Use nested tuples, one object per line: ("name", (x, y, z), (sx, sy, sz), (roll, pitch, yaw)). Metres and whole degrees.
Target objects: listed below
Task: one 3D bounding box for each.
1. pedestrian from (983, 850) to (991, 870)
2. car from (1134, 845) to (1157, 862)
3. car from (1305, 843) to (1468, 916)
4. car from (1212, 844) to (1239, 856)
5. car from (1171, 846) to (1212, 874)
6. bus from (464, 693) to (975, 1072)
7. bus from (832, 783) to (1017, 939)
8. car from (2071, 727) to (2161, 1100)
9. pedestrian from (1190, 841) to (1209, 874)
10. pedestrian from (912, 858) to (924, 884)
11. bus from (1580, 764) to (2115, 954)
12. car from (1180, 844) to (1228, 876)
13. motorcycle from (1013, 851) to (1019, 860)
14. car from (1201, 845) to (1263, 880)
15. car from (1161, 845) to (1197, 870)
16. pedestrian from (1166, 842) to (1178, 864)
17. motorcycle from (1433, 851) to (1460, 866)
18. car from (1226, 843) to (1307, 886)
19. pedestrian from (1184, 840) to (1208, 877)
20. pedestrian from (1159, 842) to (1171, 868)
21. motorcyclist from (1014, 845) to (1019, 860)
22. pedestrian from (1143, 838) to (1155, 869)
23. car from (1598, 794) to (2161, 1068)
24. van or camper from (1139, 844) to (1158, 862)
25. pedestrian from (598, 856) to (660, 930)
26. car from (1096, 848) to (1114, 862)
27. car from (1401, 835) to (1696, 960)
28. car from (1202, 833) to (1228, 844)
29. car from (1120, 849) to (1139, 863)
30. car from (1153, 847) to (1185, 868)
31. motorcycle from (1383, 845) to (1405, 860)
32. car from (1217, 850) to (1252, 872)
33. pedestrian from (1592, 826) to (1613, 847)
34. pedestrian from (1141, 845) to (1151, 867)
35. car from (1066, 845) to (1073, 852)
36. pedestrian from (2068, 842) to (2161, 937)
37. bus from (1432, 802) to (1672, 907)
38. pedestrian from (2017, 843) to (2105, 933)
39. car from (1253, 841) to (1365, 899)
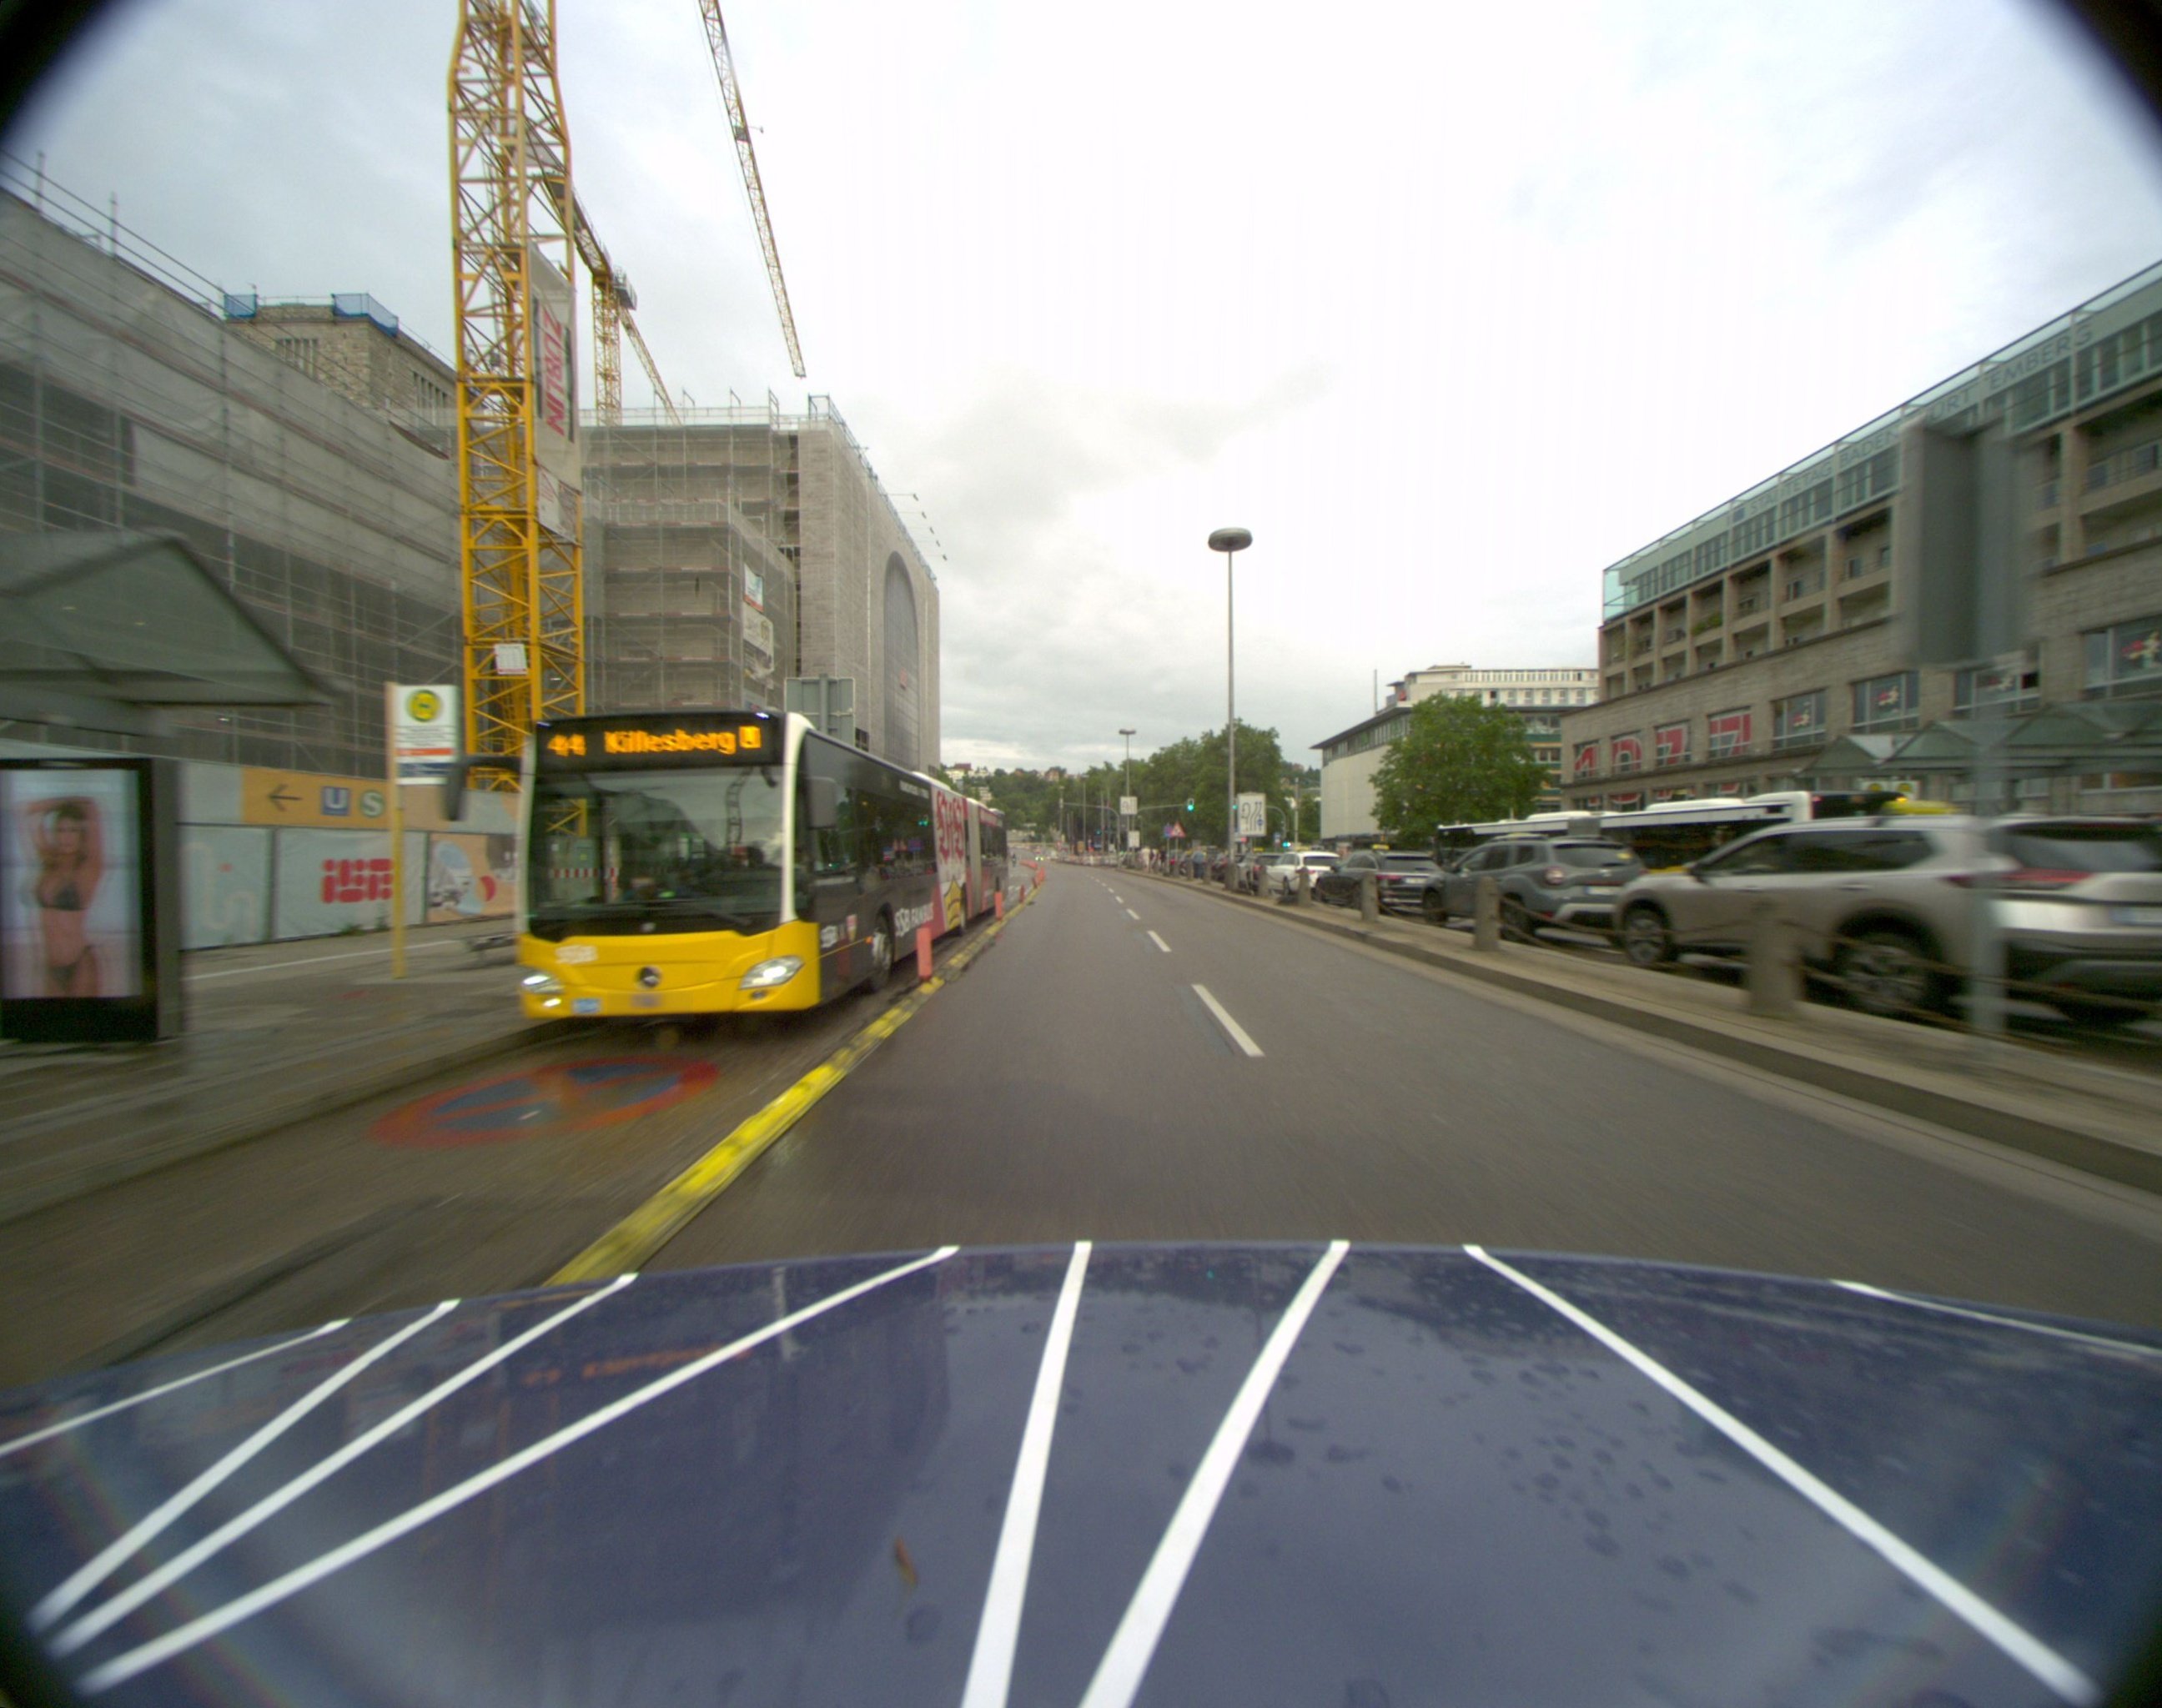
("pedestrian", (-8.153, 0.541, 66.159), (0.560, 1.749, 0.751), (2, 1, -14))
("car", (6.876, -0.062, 81.365), (1.908, 1.689, 4.499), (-2, 0, -3))
("car", (7.364, 0.524, 18.980), (1.935, 1.567, 5.051), (1, 1, -1))
("car", (23.229, -0.663, 122.392), (3.735, 1.534, 1.855), (-4, 2, 36))
("car", (7.227, 0.358, 49.930), (1.935, 1.681, 4.681), (1, 1, -1))
("bus", (-3.605, 0.181, 10.779), (2.762, 3.048, 8.991), (-2, 1, 1))
("bus", (-3.536, 0.076, 19.835), (2.762, 3.051, 9.078), (-2, 1, 1))
("car", (7.224, 0.355, 2.021), (1.998, 2.166, 5.544), (0, 0, 1))
("pedestrian", (5.972, 0.184, 38.240), (0.724, 1.597, 0.996), (-2, 0, 0))
("pedestrian", (-10.349, 1.071, 48.281), (0.550, 1.623, 0.995), (2, 1, 0))
("bus", (17.515, 0.065, 19.208), (2.884, 3.439, 10.573), (-1, 0, 0))
("car", (7.063, 0.304, 44.065), (1.935, 1.681, 4.681), (1, 1, -1))
("motorcycle", (-8.714, 0.235, 102.308), (0.730, 1.221, 2.160), (0, -1, -7))
("car", (7.388, 0.374, 37.686), (1.935, 1.567, 5.259), (1, 1, -1))
("car", (7.115, 0.225, 55.659), (1.935, 1.681, 4.681), (1, 1, -1))
("pedestrian", (7.506, -0.083, 62.692), (0.784, 1.765, 0.606), (2, 1, -12))
("motorcycle", (28.649, 0.319, 59.522), (1.813, 1.127, 0.583), (-1, 1, 1))
("car", (7.369, 0.357, 30.734), (1.935, 1.567, 5.011), (1, 1, -1))
("pedestrian", (5.602, 0.205, 36.951), (1.053, 1.758, 0.616), (-1, 1, -1))
("pedestrian", (5.537, 0.058, 50.101), (0.700, 1.744, 0.711), (-1, 1, 0))
("motorcyclist", (-8.701, -0.173, 102.267), (0.726, 2.024, 0.587), (0, 0, -7))
("pedestrian", (4.541, -0.027, 50.795), (0.724, 1.996, 0.772), (-2, 1, 0))
("car", (7.472, 0.488, 7.269), (1.934, 1.796, 4.582), (1, 1, 1))
("van or camper", (10.009, -0.206, 112.939), (1.999, 2.499, 5.369), (2, 0, -2))
("pedestrian", (-10.284, 0.862, 17.303), (0.907, 1.626, 0.829), (0, 1, 27))
("car", (3.191, 0.112, 100.632), (1.999, 1.806, 4.809), (0, 0, -3))
("car", (7.414, 0.563, 12.828), (1.934, 1.689, 4.884), (1, 1, 0))
("car", (26.169, -2.974, 148.662), (4.830, 2.002, 2.036), (-2, 0, 2))
("car", (5.935, 0.250, 93.478), (1.789, 1.712, 4.482), (0, 0, -3))
("car", (7.032, 0.253, 61.399), (2.020, 1.611, 4.841), (-1, 0, 0))
("motorcycle", (24.200, -0.114, 58.776), (1.443, 1.051, 0.602), (-2, 0, -11))
("car", (12.734, 0.558, 63.335), (1.935, 1.681, 4.681), (1, 1, -1))
("pedestrian", (27.907, -0.930, 40.664), (0.630, 1.103, 0.696), (-2, 1, -13))
("pedestrian", (5.239, 0.154, 60.964), (0.653, 1.701, 0.593), (-2, 1, -2))
("car", (-2.863, -1.379, 190.393), (1.682, 1.533, 3.173), (0, -1, 0))
("pedestrian", (19.507, 0.646, 14.338), (0.625, 1.715, 0.856), (-2, 0, 1))
("bus", (17.626, -0.015, 29.784), (2.884, 3.357, 10.573), (0, 0, 0))
("pedestrian", (19.561, 0.663, 15.188), (0.625, 1.715, 0.856), (-2, 0, 1))
("car", (7.250, 0.430, 24.767), (1.981, 1.650, 5.191), (1, 1, -1))
